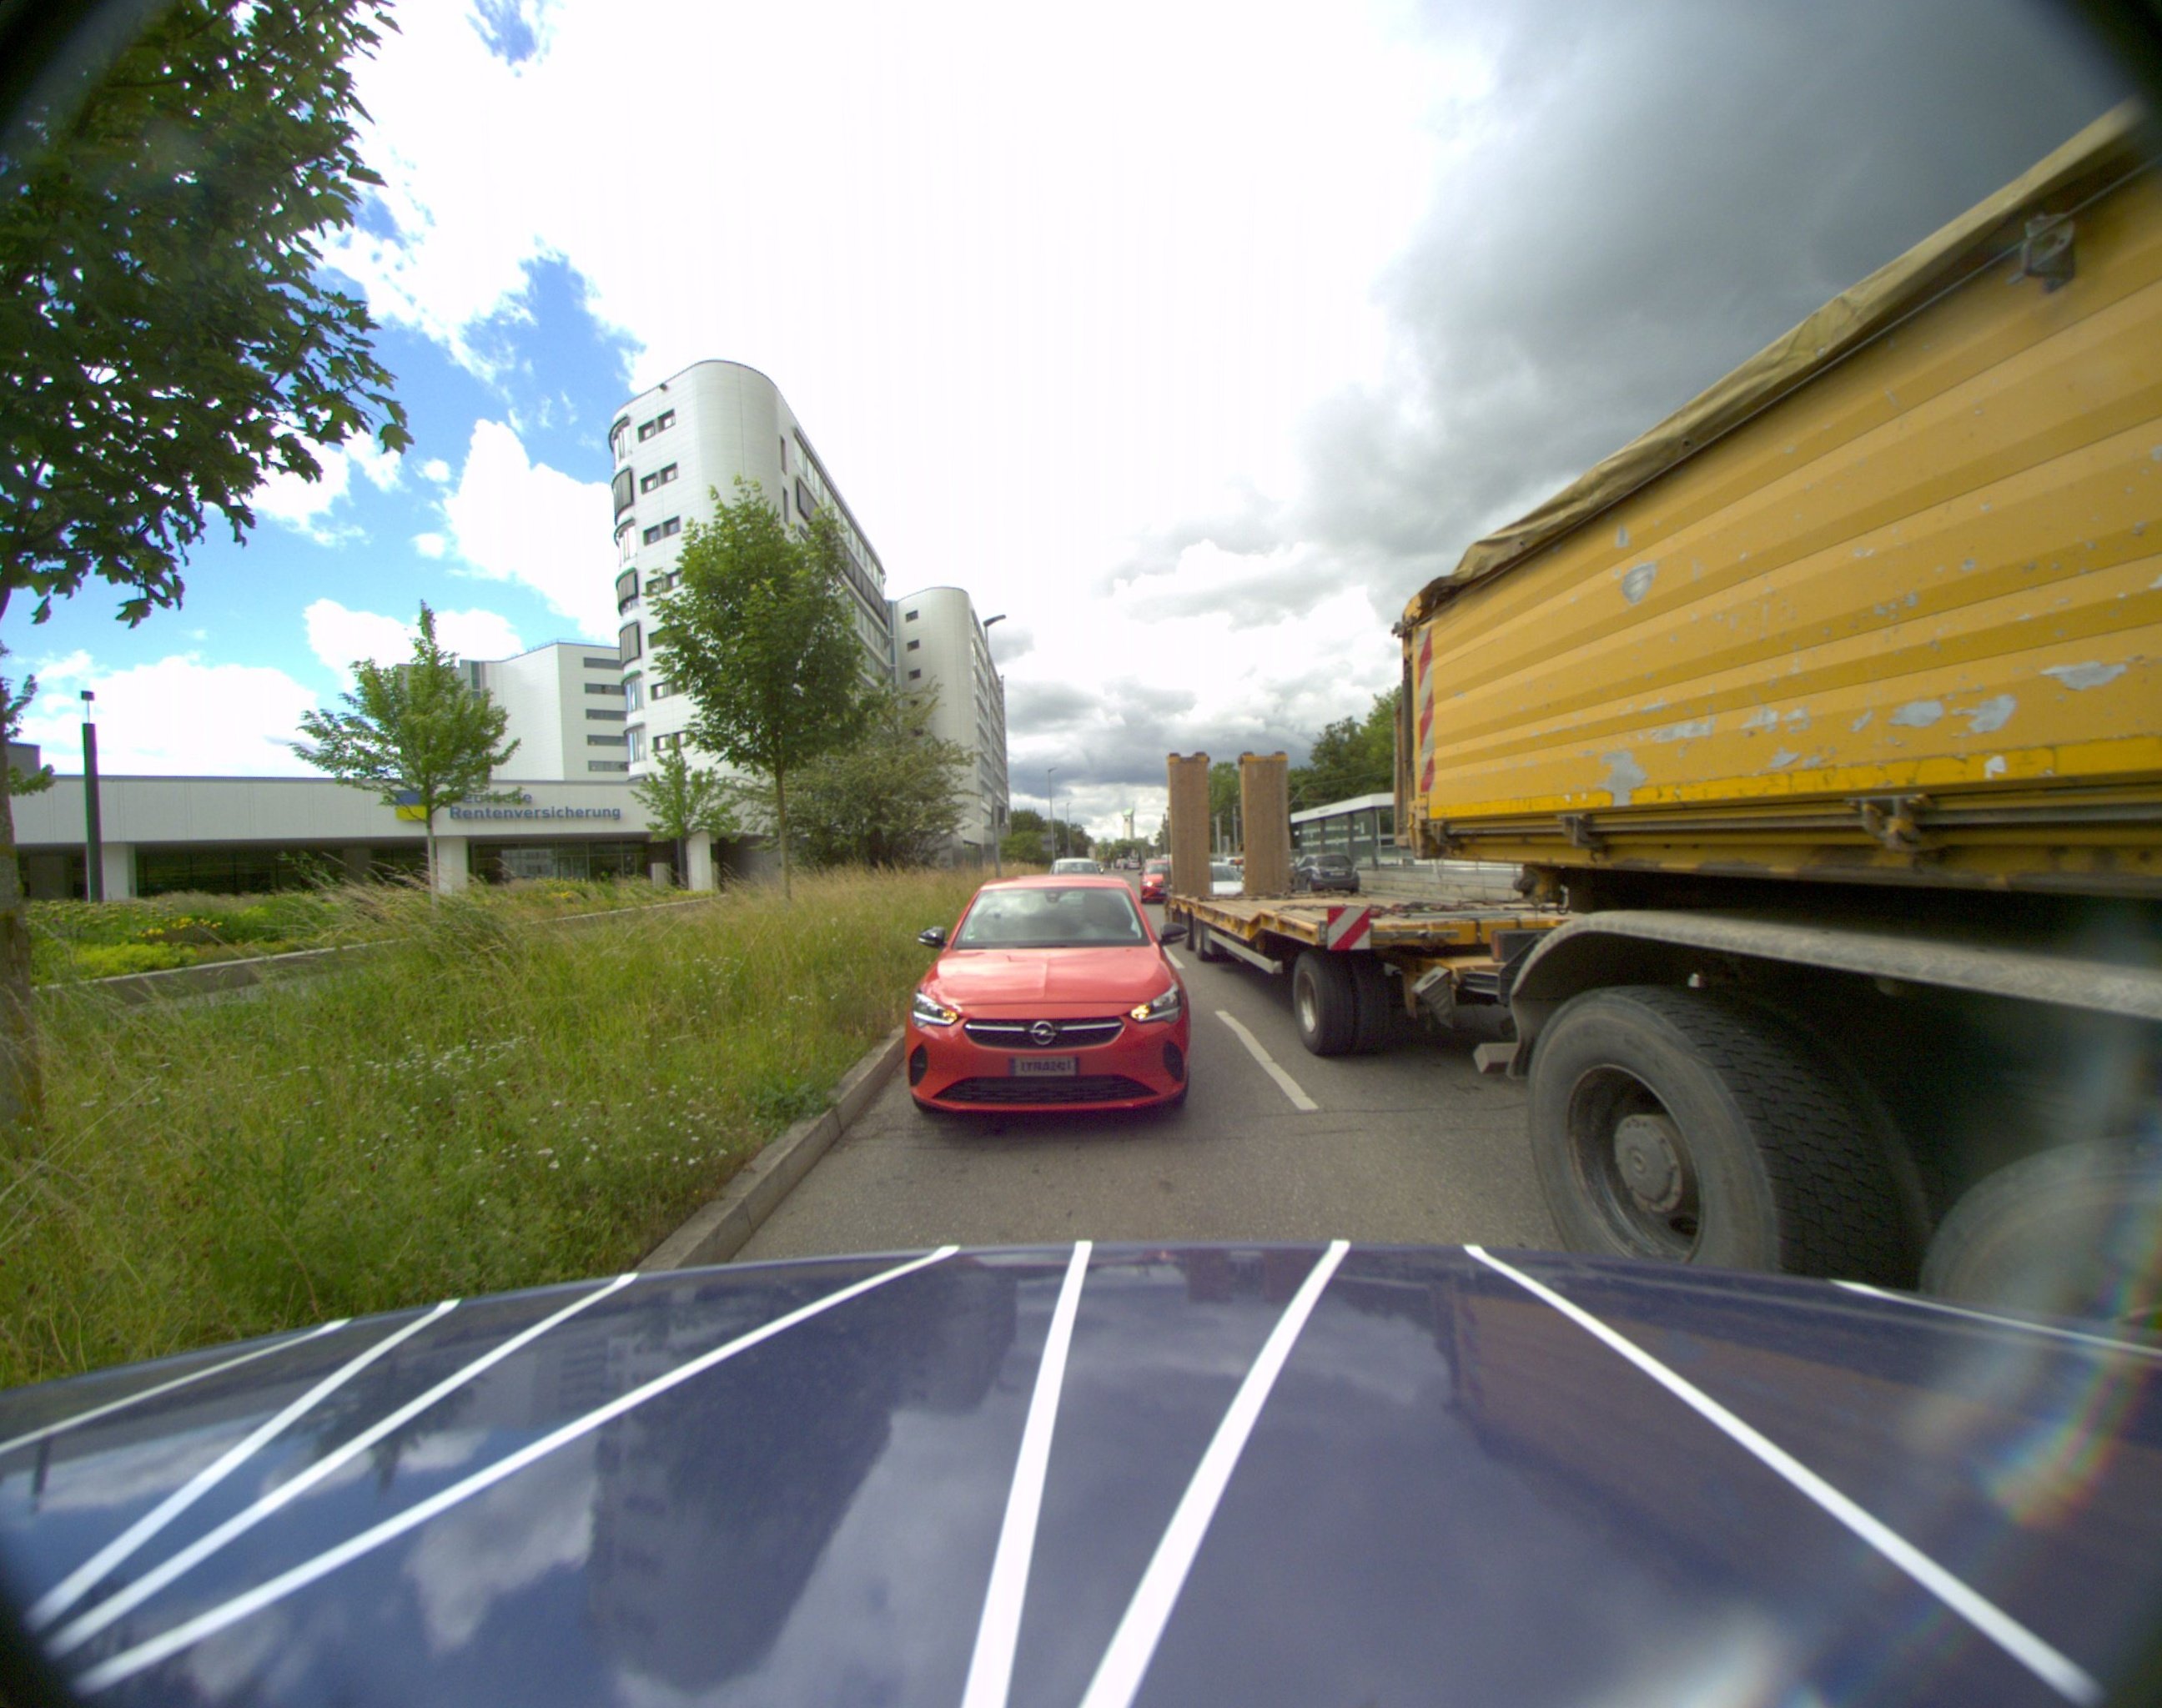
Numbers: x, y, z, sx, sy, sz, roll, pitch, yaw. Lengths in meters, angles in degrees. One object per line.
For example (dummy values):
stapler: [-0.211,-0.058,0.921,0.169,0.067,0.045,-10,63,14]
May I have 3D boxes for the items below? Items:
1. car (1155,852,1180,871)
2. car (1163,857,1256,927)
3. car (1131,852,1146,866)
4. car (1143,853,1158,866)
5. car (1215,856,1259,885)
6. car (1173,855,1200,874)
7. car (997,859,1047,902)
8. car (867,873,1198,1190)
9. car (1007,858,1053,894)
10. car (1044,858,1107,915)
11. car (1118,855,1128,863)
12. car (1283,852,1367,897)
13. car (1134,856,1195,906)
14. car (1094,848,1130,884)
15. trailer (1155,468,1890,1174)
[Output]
car: [8.308,0.730,73.650,1.887,1.761,4.864,-2,0,1]
car: [3.144,0.877,19.310,1.692,1.471,3.999,-2,1,1]
car: [8.852,0.765,116.887,1.998,2.002,4.000,-2,0,1]
car: [8.566,0.641,93.863,1.644,1.489,3.554,-2,0,1]
car: [8.480,0.853,41.619,1.766,1.432,4.279,-2,0,4]
car: [8.630,0.860,62.213,1.705,1.449,3.566,-2,0,1]
car: [-2.323,1.013,30.658,1.738,1.565,3.445,-2,0,0]
car: [-0.229,0.994,6.011,1.692,1.471,3.999,-2,1,1]
car: [-2.357,0.983,36.083,1.850,1.565,4.623,-2,0,0]
car: [-0.171,0.943,23.387,1.738,1.565,3.445,-2,0,0]
car: [8.220,0.923,149.395,1.770,1.489,3.554,-2,0,1]
car: [8.704,0.697,27.452,1.781,1.460,4.044,-2,0,1]
car: [2.801,0.882,26.215,1.692,1.471,3.999,-2,1,1]
car: [1.807,0.721,45.988,1.998,2.002,4.000,-2,0,1]
trailer: [2.783,-0.158,9.333,2.713,3.501,10.914,-2,0,1]
